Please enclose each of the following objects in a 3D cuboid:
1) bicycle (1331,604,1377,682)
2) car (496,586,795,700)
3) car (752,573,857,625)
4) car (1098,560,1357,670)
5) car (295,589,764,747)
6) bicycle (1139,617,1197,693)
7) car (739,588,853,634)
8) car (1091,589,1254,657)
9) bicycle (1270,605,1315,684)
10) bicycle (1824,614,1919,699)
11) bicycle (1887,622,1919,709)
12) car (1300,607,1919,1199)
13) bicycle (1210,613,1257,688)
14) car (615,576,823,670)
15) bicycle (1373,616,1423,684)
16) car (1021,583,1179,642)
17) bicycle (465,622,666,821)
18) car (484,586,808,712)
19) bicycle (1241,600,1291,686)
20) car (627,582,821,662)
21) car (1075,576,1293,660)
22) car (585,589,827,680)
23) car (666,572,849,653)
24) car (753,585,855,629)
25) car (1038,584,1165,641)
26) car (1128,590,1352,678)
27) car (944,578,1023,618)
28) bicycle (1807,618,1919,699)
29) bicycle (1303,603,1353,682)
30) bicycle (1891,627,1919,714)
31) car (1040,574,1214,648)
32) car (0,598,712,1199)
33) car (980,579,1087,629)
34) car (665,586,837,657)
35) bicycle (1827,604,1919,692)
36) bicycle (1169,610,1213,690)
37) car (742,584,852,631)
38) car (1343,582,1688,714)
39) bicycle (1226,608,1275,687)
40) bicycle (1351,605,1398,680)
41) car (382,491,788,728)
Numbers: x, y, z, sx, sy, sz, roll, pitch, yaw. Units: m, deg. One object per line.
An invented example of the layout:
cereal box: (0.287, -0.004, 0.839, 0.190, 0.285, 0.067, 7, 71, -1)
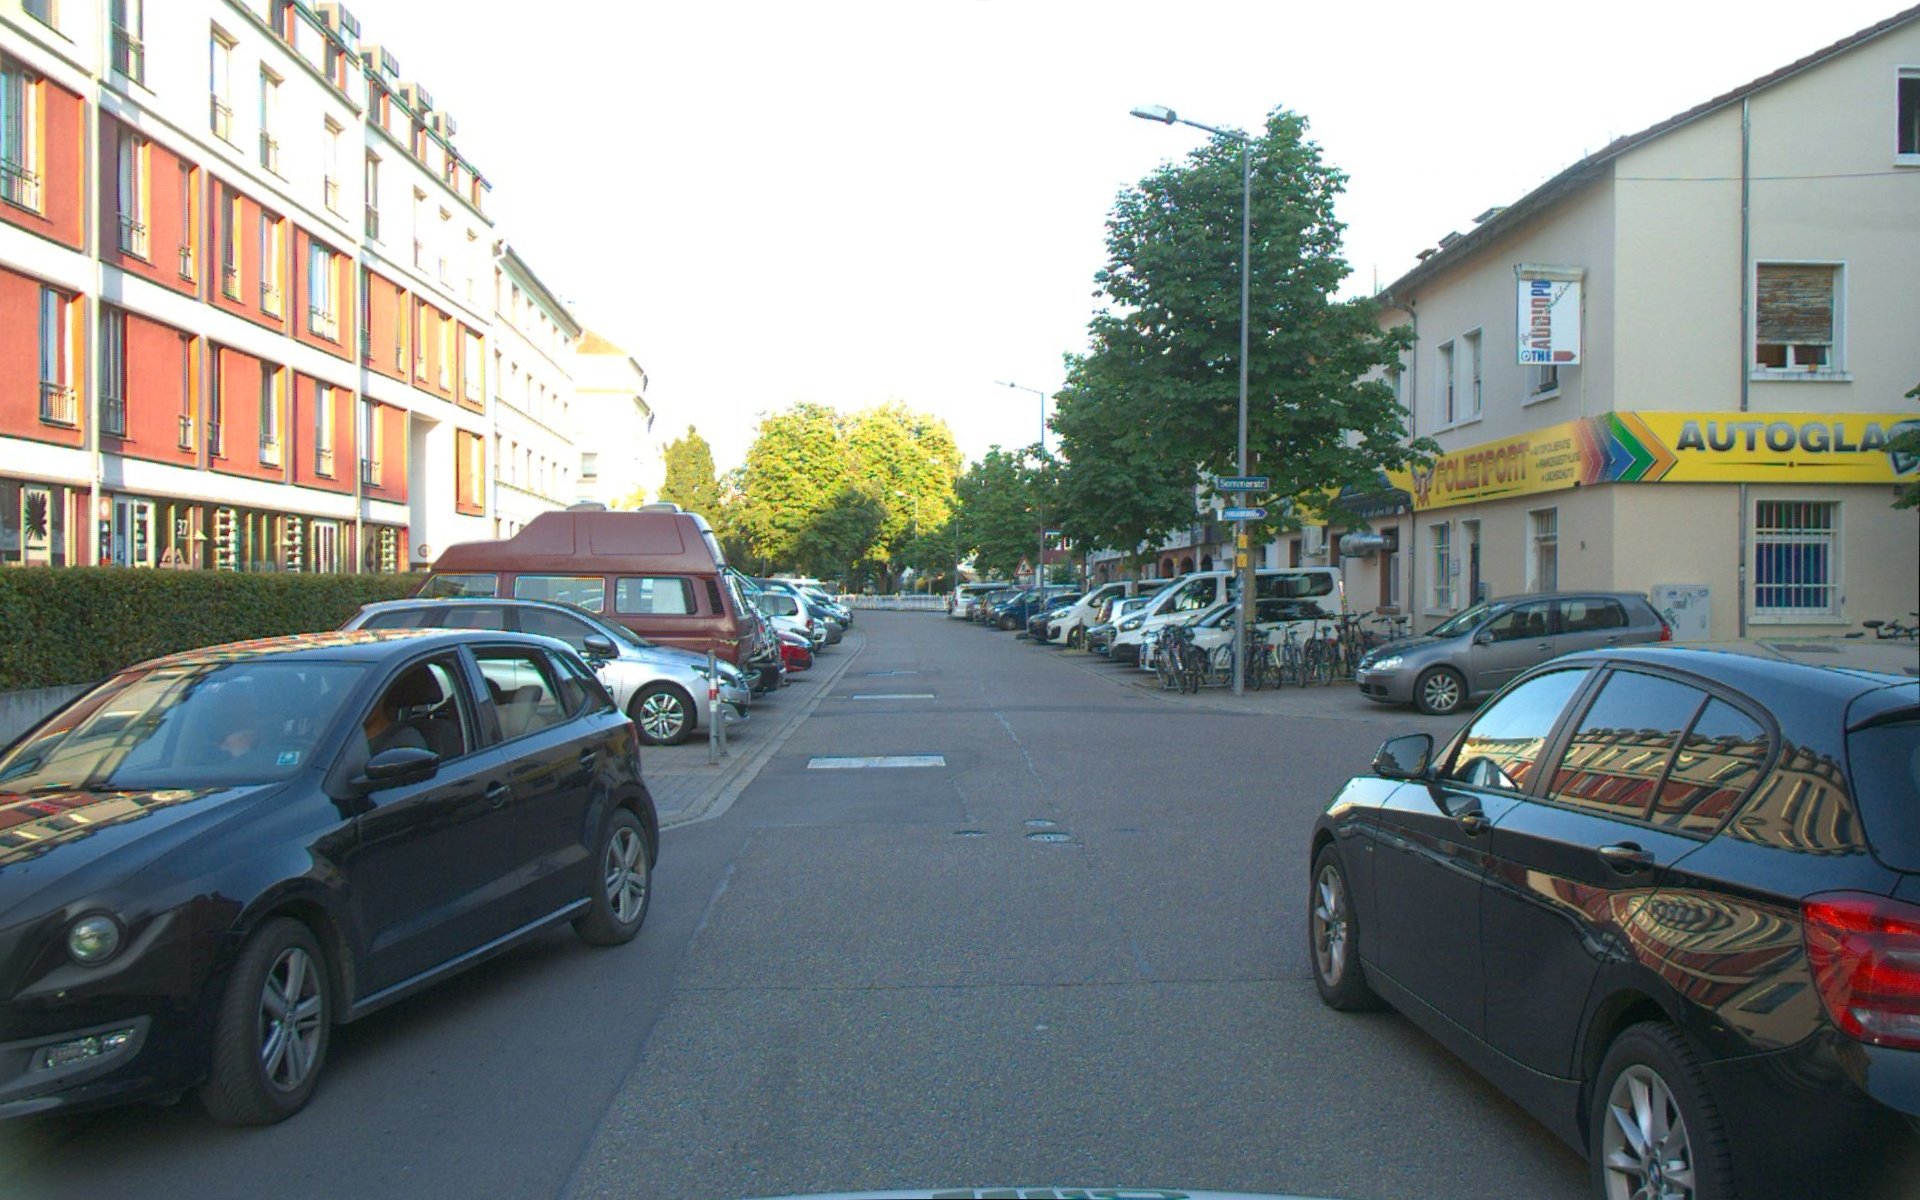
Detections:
bicycle: (6.392, 0.681, 26.886, 0.346, 1.221, 1.481, -1, 0, -1)
car: (-4.741, 0.631, 25.291, 4.120, 1.565, 1.843, 1, 0, 4)
car: (-6.884, -0.056, 73.588, 4.442, 2.171, 1.999, 1, 0, -2)
car: (5.418, 0.295, 33.975, 4.889, 2.018, 2.219, -2, 0, -1)
car: (-4.412, 0.689, 17.587, 4.525, 1.486, 1.879, 1, 0, -5)
bicycle: (3.354, 0.863, 26.789, 0.429, 1.150, 2.014, -1, 0, -7)
car: (-6.251, 0.411, 63.454, 4.171, 1.650, 1.999, 1, 0, -3)
car: (5.350, 0.558, 41.951, 3.832, 1.552, 1.939, -2, 0, -1)
bicycle: (5.404, 0.710, 26.902, 0.378, 1.221, 1.481, -1, 0, -1)
bicycle: (12.423, 0.757, 21.988, 1.696, 1.088, 0.343, 1, 2, -3)
bicycle: (12.543, 0.829, 20.777, 1.569, 1.059, 0.343, 1, 2, -1)
car: (2.304, 0.783, 4.643, 1.687, 1.449, 4.252, 1, 0, -2)
bicycle: (4.453, 0.801, 27.037, 0.378, 1.133, 2.017, -1, 0, -1)
car: (-5.142, 0.471, 35.744, 4.171, 1.868, 1.999, 1, 0, -2)
bicycle: (7.141, 0.802, 27.033, 0.380, 1.035, 1.481, -1, 0, -1)
car: (4.530, 0.388, 54.060, 4.846, 1.718, 2.076, -2, 0, -3)
bicycle: (-2.855, 0.821, 12.332, 0.791, 1.243, 2.865, 1, 0, 0)
car: (-4.220, 0.644, 22.739, 4.125, 1.565, 1.790, 1, 0, -4)
bicycle: (4.988, 0.672, 27.047, 0.378, 1.327, 2.017, -1, 0, -1)
car: (-5.388, 0.496, 38.210, 4.171, 1.689, 1.999, 1, 0, -2)
car: (5.265, 0.421, 39.316, 4.843, 1.772, 2.049, -2, 0, -1)
car: (-4.594, 0.615, 30.338, 4.123, 1.516, 1.849, 1, 0, -1)
car: (-5.466, 0.329, 45.119, 4.752, 2.056, 1.906, 1, 0, -2)
car: (-6.673, 0.288, 70.956, 4.171, 1.780, 1.999, 1, 0, -2)
car: (5.013, 0.444, 58.980, 4.231, 1.835, 1.810, -2, 0, -3)
car: (5.228, 0.615, 31.183, 3.841, 1.476, 1.767, -2, 0, -4)
car: (1.221, -0.100, 87.049, 3.892, 1.945, 2.046, -2, 0, -6)
bicycle: (12.316, 0.786, 22.334, 1.570, 1.037, 0.343, 1, 2, -3)
bicycle: (5.971, 0.678, 26.885, 0.436, 1.221, 1.481, -1, 0, -1)
bicycle: (12.434, 0.881, 20.247, 1.812, 1.028, 0.428, 1, 2, -1)
car: (4.918, 0.314, 49.216, 4.846, 1.992, 2.048, -2, 0, -3)
car: (-2.480, 0.799, 6.166, 1.617, 1.480, 3.945, -3, 0, 14)
car: (3.152, 0.166, 71.665, 4.393, 1.945, 1.685, -2, 0, -7)
car: (-5.327, 0.528, 42.568, 4.171, 1.681, 1.887, 1, 0, -2)
bicycle: (13.013, 0.663, 22.875, 1.822, 1.169, 0.343, 1, 2, -1)
bicycle: (3.757, 0.799, 26.986, 0.378, 1.221, 2.017, -1, 0, -1)
car: (-6.490, 0.309, 66.189, 4.171, 1.744, 1.999, 1, 0, -2)
car: (7.269, 0.597, 21.881, 3.968, 1.540, 1.756, -1, 2, -1)
bicycle: (4.732, 0.751, 27.031, 0.378, 1.221, 2.017, -1, 0, -1)
bicycle: (6.743, 0.682, 26.977, 0.346, 1.163, 1.481, -1, 0, -1)
car: (-4.444, 0.102, 20.164, 4.419, 2.629, 2.000, 1, 0, 0)
